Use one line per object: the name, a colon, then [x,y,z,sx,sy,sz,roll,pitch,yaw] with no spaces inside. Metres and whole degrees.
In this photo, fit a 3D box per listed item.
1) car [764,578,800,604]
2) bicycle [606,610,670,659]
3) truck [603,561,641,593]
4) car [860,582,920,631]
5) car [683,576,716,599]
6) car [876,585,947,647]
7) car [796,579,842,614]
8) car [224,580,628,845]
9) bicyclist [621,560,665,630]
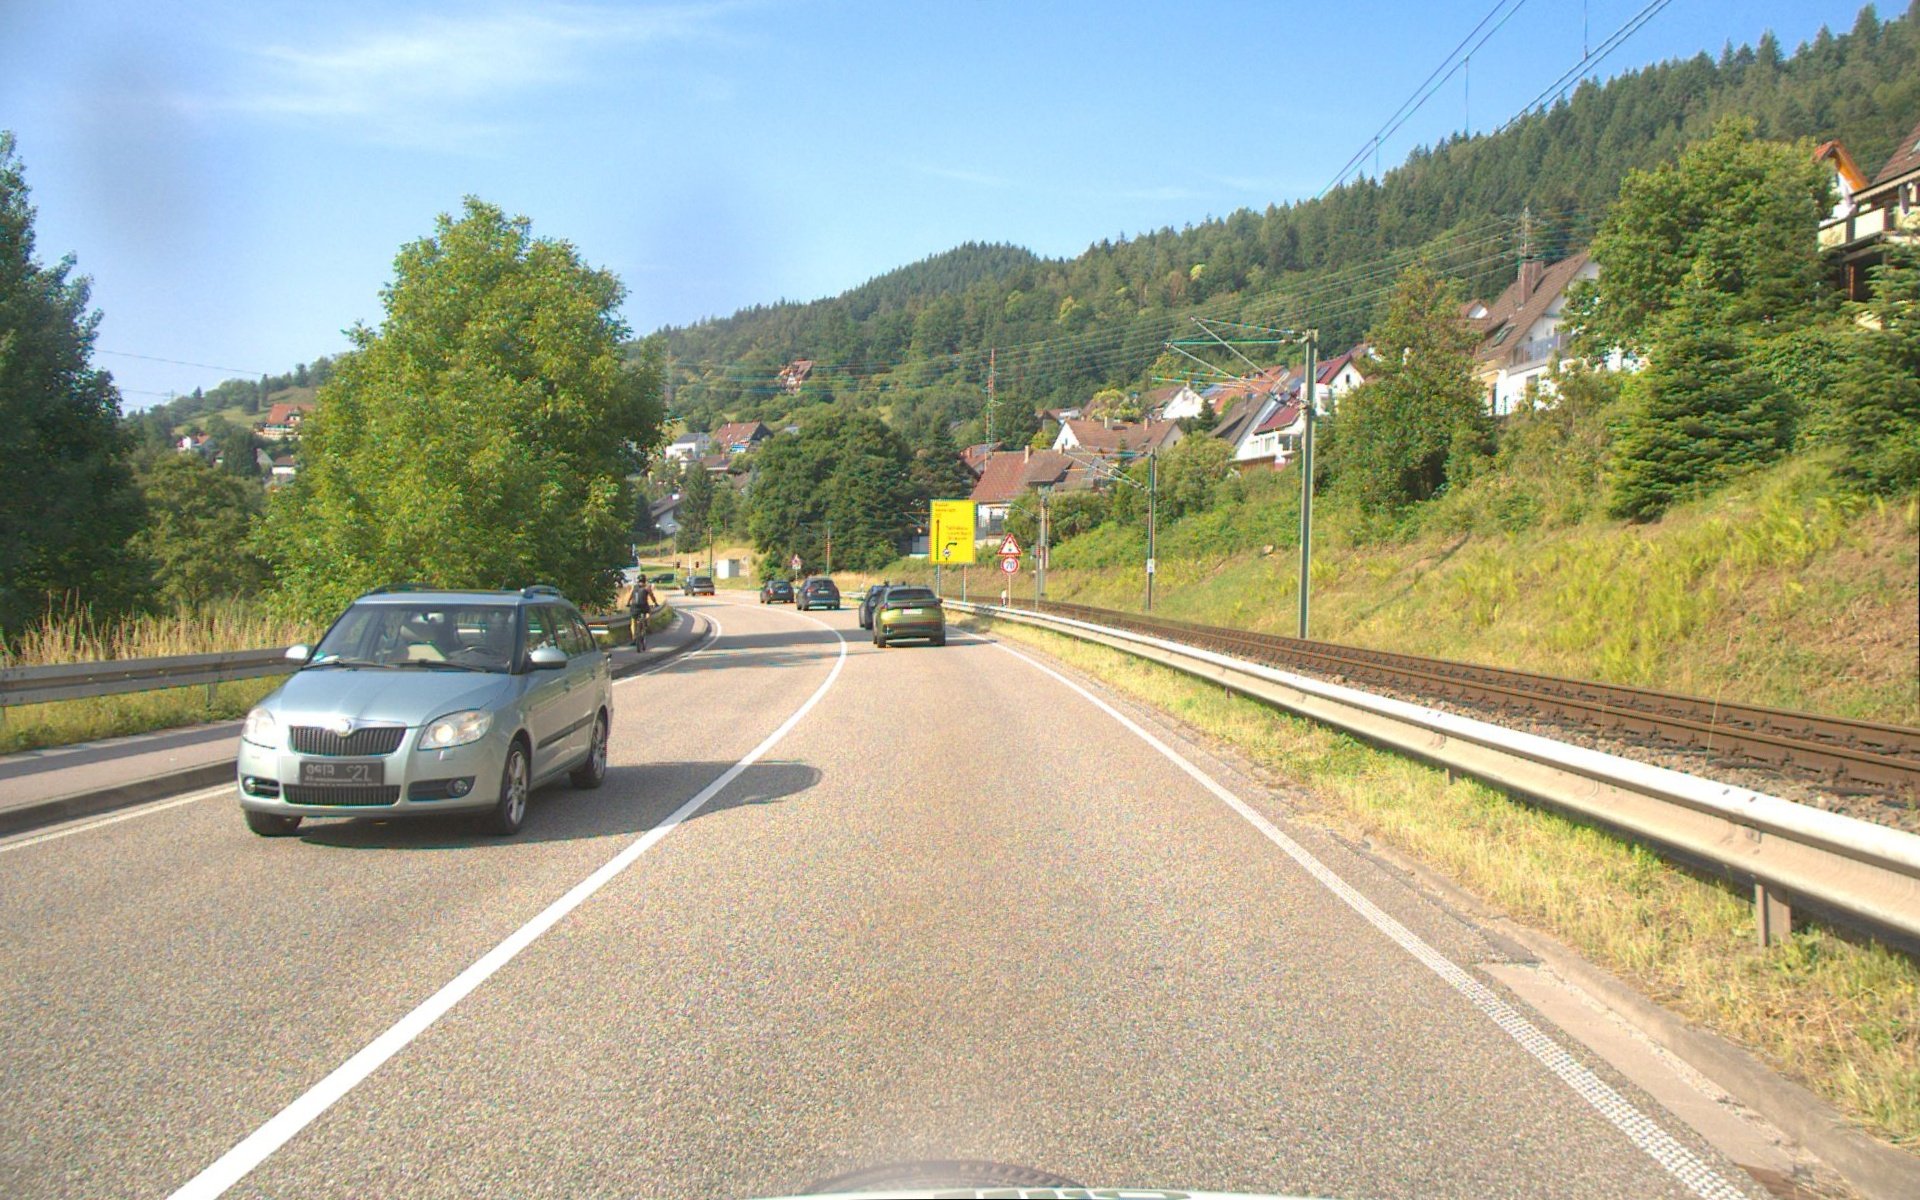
car: [-11.425,-0.575,106.051,1.817,1.553,3.651,-2,1,-13]
bicycle: [-7.613,0.808,39.237,0.545,1.063,2.231,3,1,14]
truck: [-34.628,-2.401,169.222,2.675,3.137,6.067,1,1,-23]
car: [-2.420,0.200,56.695,1.636,1.586,3.992,1,0,-8]
car: [-22.066,-1.096,140.032,2.033,1.842,3.976,-2,1,-20]
car: [-1.261,0.367,41.960,1.680,1.480,3.998,-1,0,-3]
car: [-7.326,-0.201,85.676,1.847,1.716,3.988,2,0,-13]
car: [-3.441,0.632,11.421,1.545,1.505,3.999,0,0,-1]
bicyclist: [-7.530,-0.125,39.278,0.545,1.614,1.036,3,1,16]
